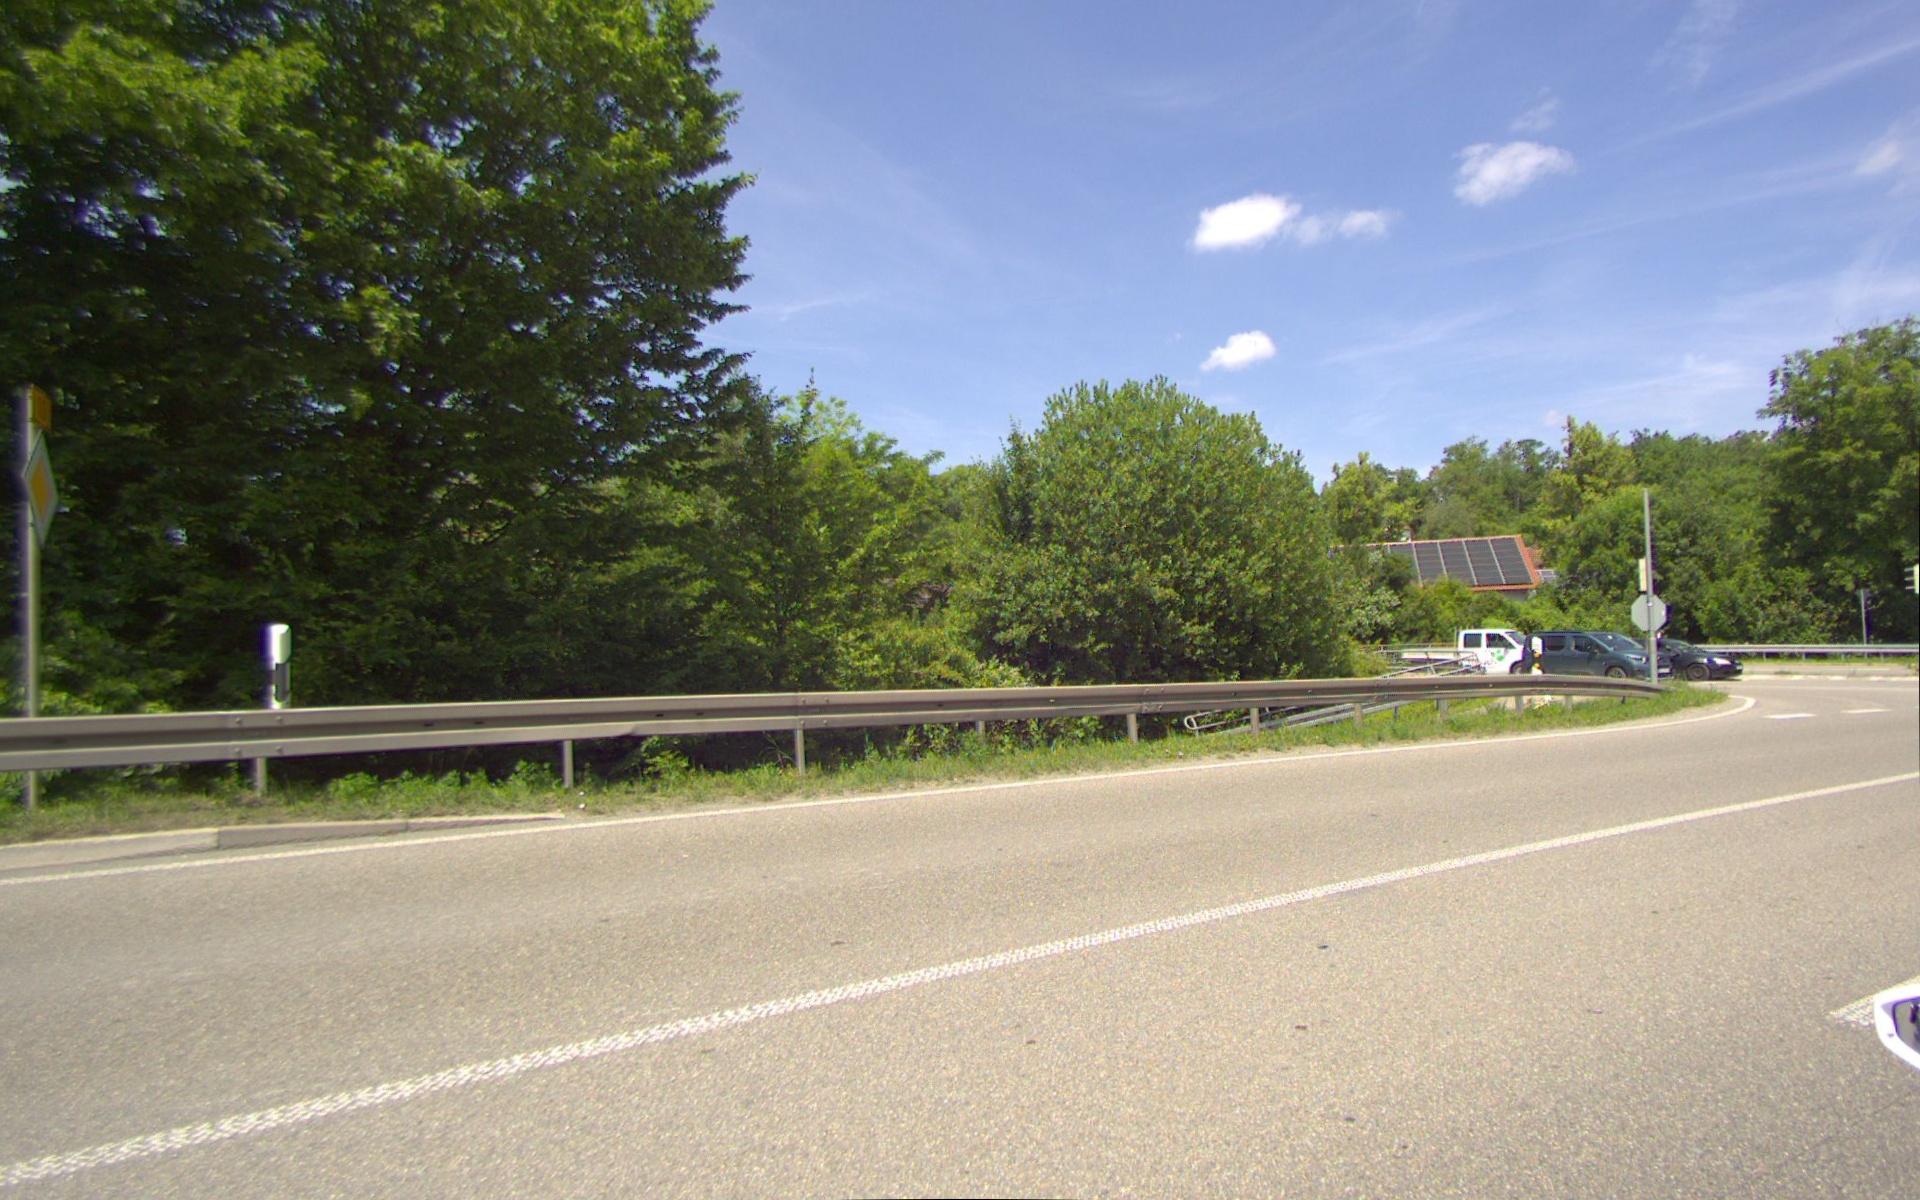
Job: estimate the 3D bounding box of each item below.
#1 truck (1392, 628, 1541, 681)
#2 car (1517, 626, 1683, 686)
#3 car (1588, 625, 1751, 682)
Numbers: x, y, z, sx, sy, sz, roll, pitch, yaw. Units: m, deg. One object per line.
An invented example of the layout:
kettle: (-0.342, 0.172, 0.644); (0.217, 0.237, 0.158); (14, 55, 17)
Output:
truck: (19.975, 2.123, 39.761); (2.028, 1.815, 4.832); (4, -2, -41)
car: (20.576, 1.758, 32.490); (1.970, 1.793, 4.229); (2, -2, -20)
car: (24.174, 1.783, 34.419); (1.970, 1.793, 4.229); (2, -2, -20)
